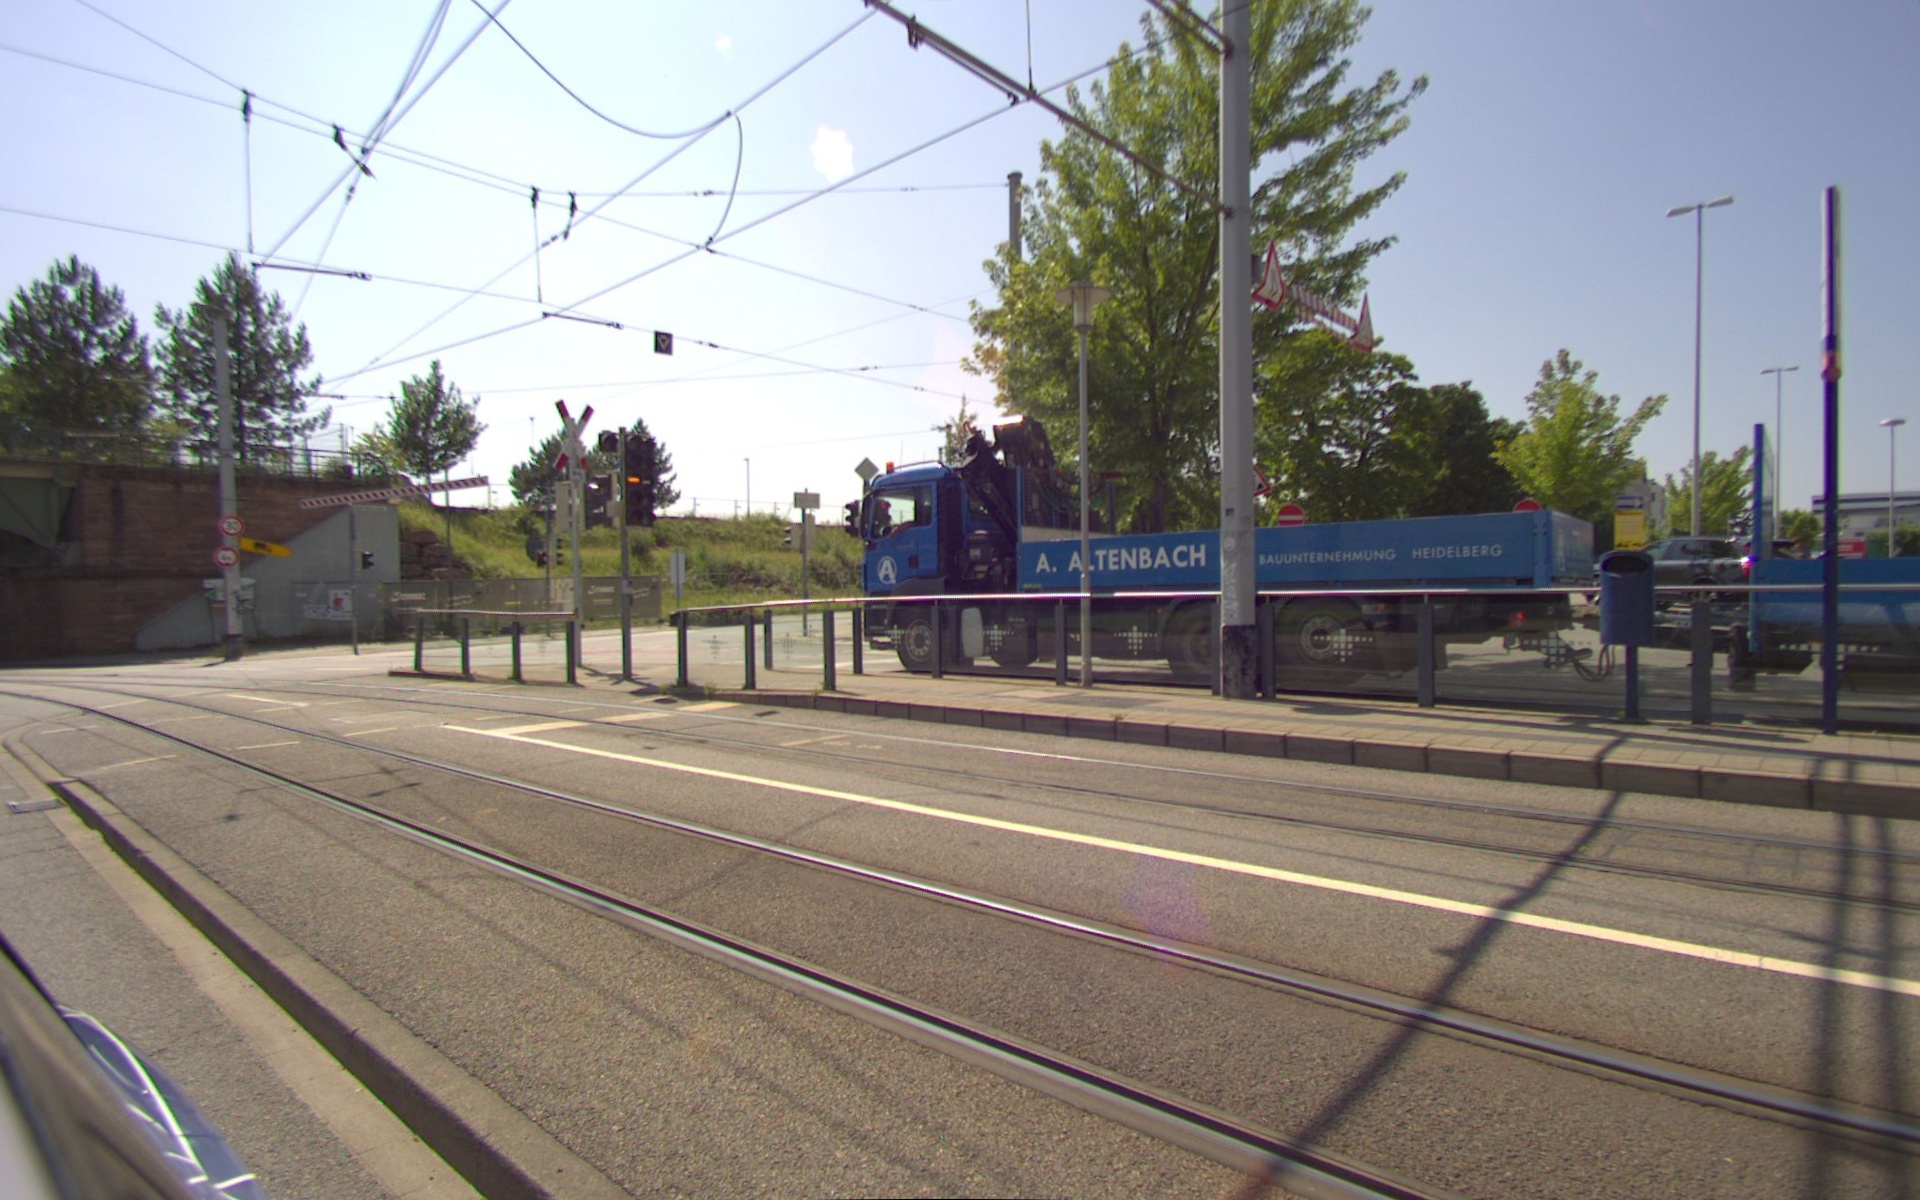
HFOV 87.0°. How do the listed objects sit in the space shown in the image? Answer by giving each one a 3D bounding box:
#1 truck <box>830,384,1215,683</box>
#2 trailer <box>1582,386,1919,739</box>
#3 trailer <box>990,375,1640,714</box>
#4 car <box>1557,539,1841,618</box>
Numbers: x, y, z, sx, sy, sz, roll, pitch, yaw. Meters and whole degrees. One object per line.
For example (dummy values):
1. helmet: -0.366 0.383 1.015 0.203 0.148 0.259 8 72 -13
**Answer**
1. truck: 0.808 -0.787 14.995 5.037 3.636 2.715 -1 0 41
2. trailer: 9.329 -0.333 7.588 7.596 2.648 2.768 -1 0 41
3. trailer: 3.895 -0.456 12.272 6.895 3.000 2.715 -1 0 41
4. car: 16.652 -0.541 23.266 2.151 1.606 5.128 0 2 -11
